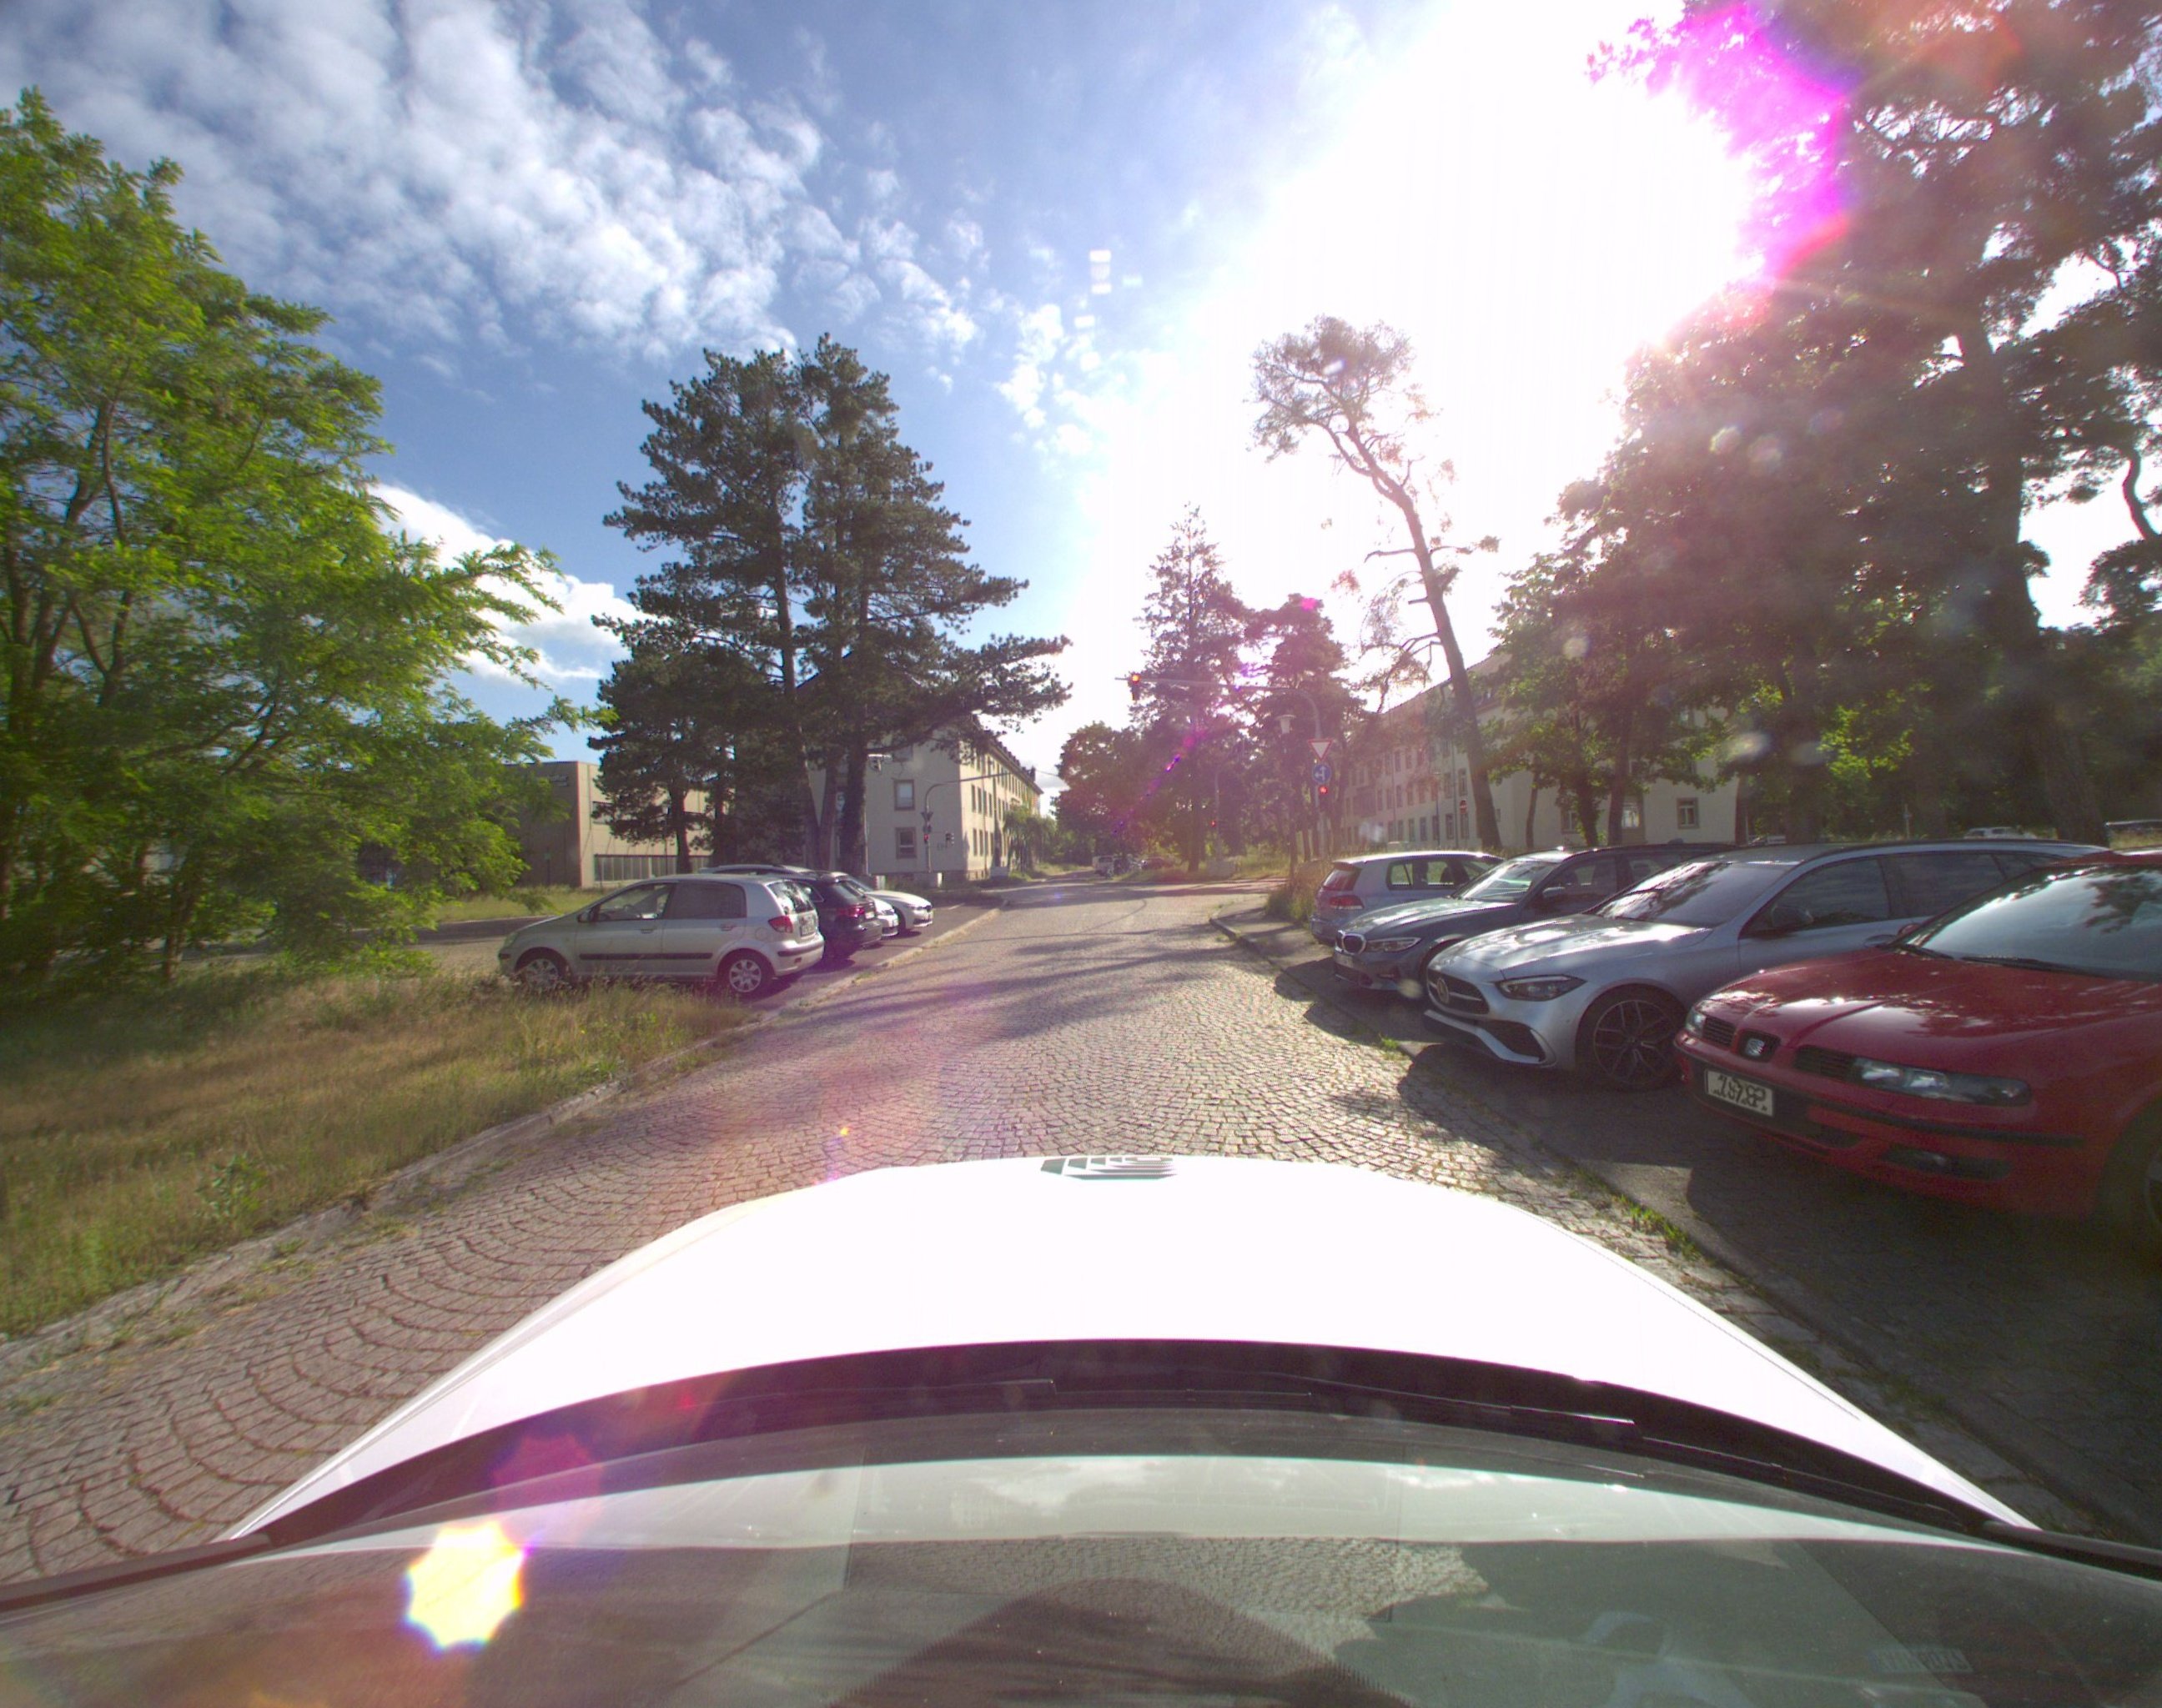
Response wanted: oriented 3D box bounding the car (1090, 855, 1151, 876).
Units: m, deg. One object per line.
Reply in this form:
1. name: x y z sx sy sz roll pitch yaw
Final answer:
1. car: 3.829 1.132 78.251 5.533 2.014 1.989 0 -1 -16

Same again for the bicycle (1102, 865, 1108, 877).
1. bicycle: 2.055 1.419 69.896 0.415 1.010 1.484 0 -1 3

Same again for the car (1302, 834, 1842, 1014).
1. car: 4.814 0.662 8.474 4.541 1.415 1.638 -4 0 2

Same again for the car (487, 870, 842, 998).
1. car: -5.218 0.976 10.587 3.735 1.487 1.645 0 0 -1

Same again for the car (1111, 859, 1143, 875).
1. car: 4.194 1.184 74.667 2.775 1.467 1.669 0 -1 -3

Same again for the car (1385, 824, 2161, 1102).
1. car: 4.715 0.658 5.773 4.414 1.415 1.782 -4 0 2

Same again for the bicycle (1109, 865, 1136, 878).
1. bicycle: 3.194 1.338 62.802 2.025 1.010 0.626 0 -1 -6

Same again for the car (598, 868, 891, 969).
1. car: -5.292 0.981 13.207 3.975 1.480 1.802 0 0 -1

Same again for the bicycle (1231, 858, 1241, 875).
1. bicycle: 9.117 0.721 47.944 0.300 0.961 1.585 0 -1 -1

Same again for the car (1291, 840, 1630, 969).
1. car: 5.057 0.646 11.250 3.867 1.415 1.638 -4 0 2

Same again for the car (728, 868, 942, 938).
1. car: -5.474 1.080 18.546 4.321 1.468 1.830 0 0 -1

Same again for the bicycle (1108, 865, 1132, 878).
1. bicycle: 3.050 1.352 63.680 1.835 1.010 0.634 0 -1 -6

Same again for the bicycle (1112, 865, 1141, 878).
1. bicycle: 3.339 1.295 60.201 2.106 1.010 0.619 0 -1 -6

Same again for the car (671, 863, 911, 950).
1. car: -5.613 0.987 16.180 4.068 1.593 1.884 0 0 -1

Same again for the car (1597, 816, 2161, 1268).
1. car: 4.888 0.582 3.587 4.111 1.449 1.638 -4 0 2

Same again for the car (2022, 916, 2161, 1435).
1. car: 4.398 0.684 1.280 3.692 1.223 1.747 -4 0 2

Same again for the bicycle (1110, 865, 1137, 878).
1. bicycle: 3.236 1.323 61.918 2.002 1.010 0.631 0 -1 -6

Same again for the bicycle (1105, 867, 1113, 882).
1. bicycle: 1.938 1.435 56.811 0.466 1.010 1.585 0 -1 -1
